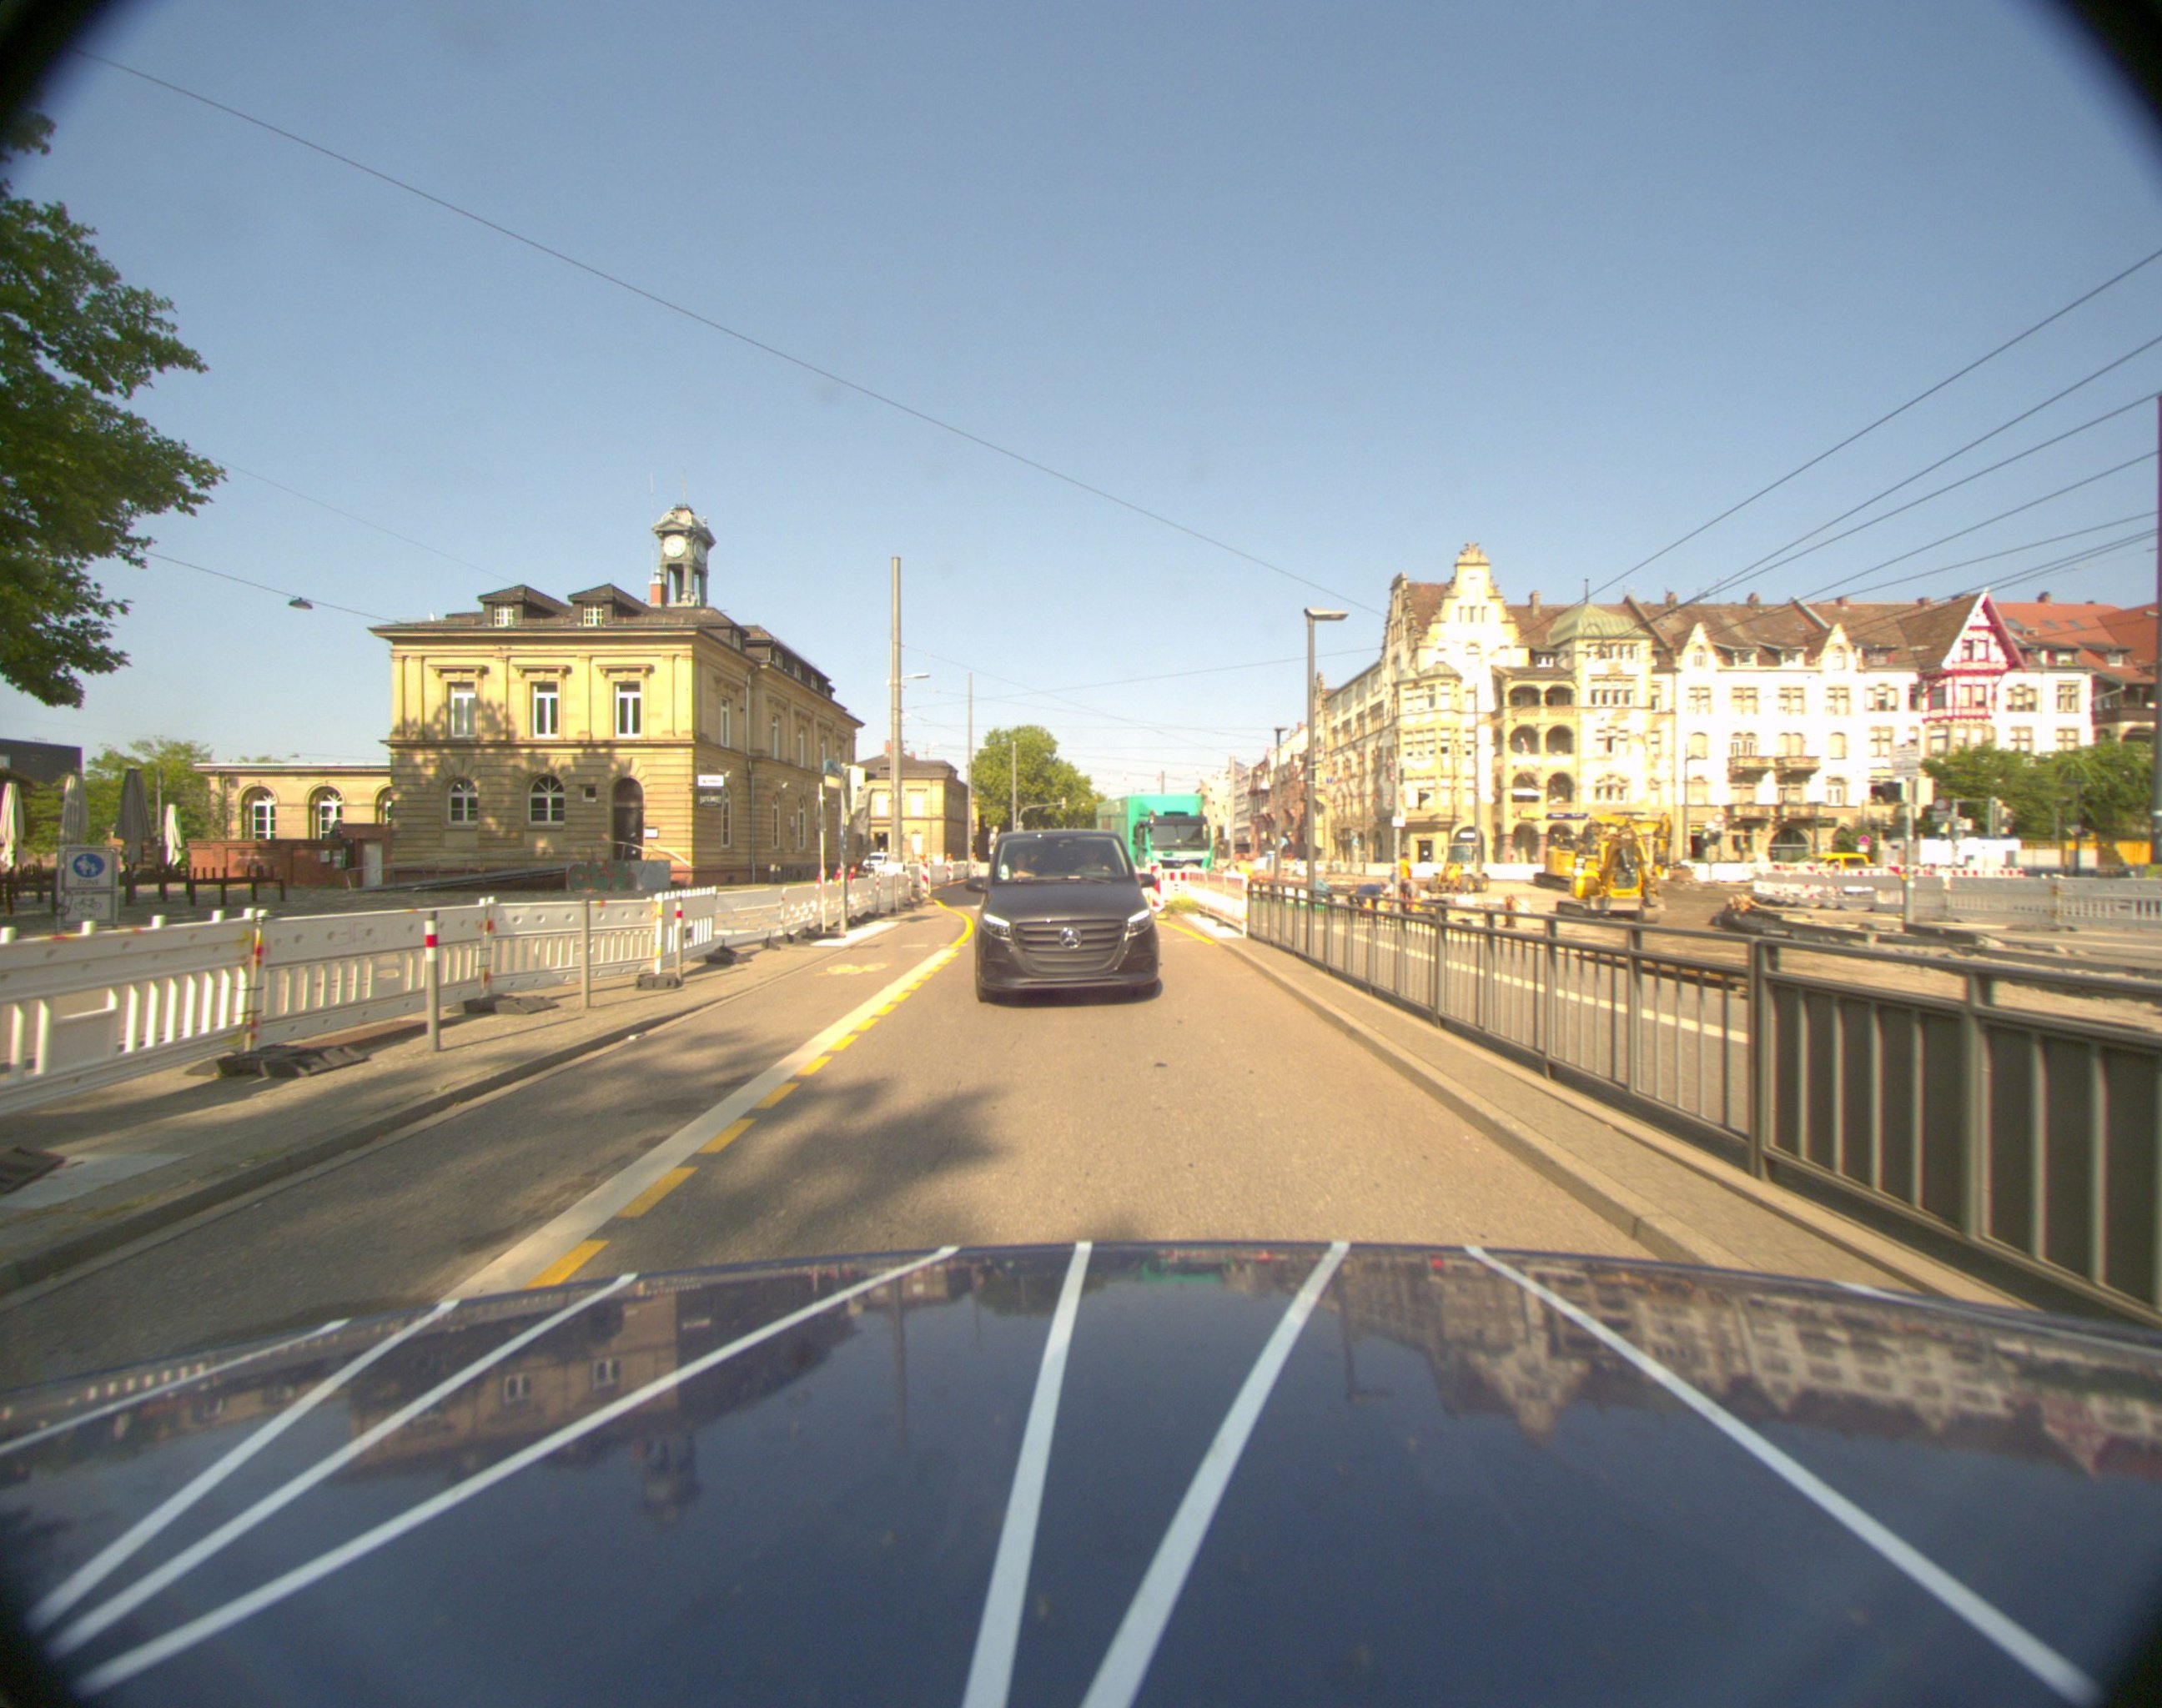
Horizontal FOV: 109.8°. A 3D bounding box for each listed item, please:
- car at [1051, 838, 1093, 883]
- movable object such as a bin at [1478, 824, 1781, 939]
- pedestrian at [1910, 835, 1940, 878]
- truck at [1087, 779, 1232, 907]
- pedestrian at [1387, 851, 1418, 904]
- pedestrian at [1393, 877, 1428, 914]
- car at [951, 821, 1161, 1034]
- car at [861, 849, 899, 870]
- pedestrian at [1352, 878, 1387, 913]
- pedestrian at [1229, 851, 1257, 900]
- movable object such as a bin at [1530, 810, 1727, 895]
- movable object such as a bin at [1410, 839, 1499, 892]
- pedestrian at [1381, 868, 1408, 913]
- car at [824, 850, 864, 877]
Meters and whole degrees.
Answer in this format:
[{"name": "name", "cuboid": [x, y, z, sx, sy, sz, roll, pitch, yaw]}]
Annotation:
[{"name": "car", "cuboid": [-0.514, 0.299, 44.396, 2.213, 2.410, 7.198, 0, 1, -1]}, {"name": "movable object such as a bin", "cuboid": [16.628, 0.653, 24.196, 3.622, 2.941, 8.475, -1, 1, 1]}, {"name": "pedestrian", "cuboid": [39.498, 0.118, 35.571, 0.668, 2.002, 0.829, 0, 1, 24]}, {"name": "truck", "cuboid": [2.488, -0.332, 27.643, 2.802, 3.889, 8.410, -2, 0, -11]}, {"name": "pedestrian", "cuboid": [9.653, 0.692, 22.803, 0.816, 1.557, 0.558, 0, 0, 20]}, {"name": "pedestrian", "cuboid": [9.243, 1.164, 21.343, 0.512, 0.982, 0.934, 0, 0, -4]}, {"name": "car", "cuboid": [-0.284, 0.661, 9.070, 1.853, 1.875, 4.177, -2, 1, -2]}, {"name": "car", "cuboid": [-18.236, 0.551, 69.274, 1.907, 1.772, 4.228, 1, -2, 6]}, {"name": "pedestrian", "cuboid": [7.935, 1.141, 20.893, 0.820, 0.920, 0.513, 0, 0, 30]}, {"name": "pedestrian", "cuboid": [5.196, 0.688, 24.393, 0.762, 1.557, 0.691, 0, 0, 0]}, {"name": "movable object such as a bin", "cuboid": [29.689, -0.160, 41.801, 7.367, 4.323, 4.974, 0, 2, 14]}, {"name": "movable object such as a bin", "cuboid": [20.809, 0.597, 42.294, 4.826, 2.818, 2.442, 0, 1, -36]}, {"name": "pedestrian", "cuboid": [11.049, 1.265, 26.773, 0.702, 1.557, 0.556, 0, 0, -9]}, {"name": "car", "cuboid": [-22.013, 0.875, 70.868, 2.264, 2.408, 5.487, 0, 0, -3]}]
